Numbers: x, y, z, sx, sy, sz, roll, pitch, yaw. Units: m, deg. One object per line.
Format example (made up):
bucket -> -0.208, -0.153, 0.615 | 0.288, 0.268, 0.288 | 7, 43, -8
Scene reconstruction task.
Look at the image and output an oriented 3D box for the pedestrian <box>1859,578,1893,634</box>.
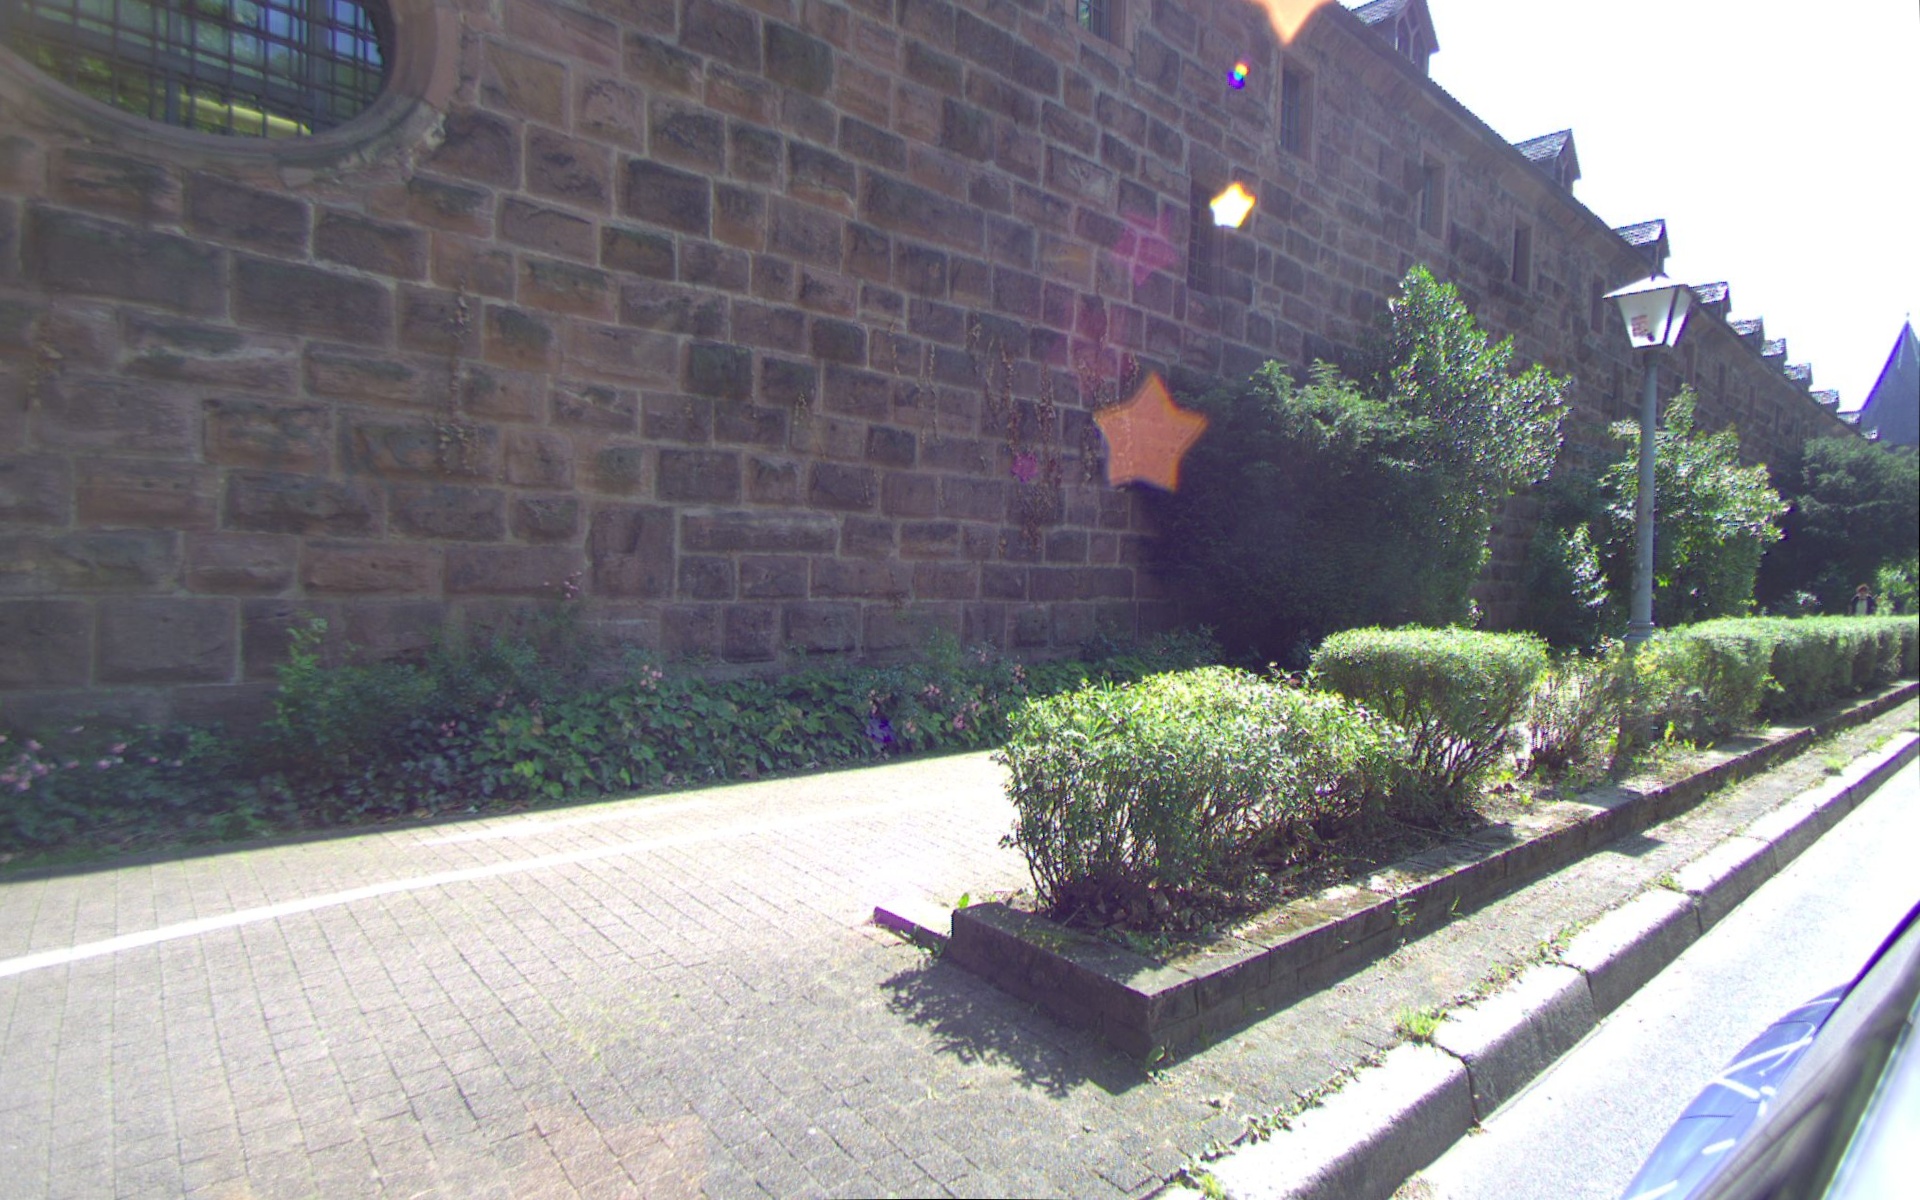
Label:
pedestrian -> 26.263, 0.176, 29.021 | 0.554, 1.583, 0.642 | 0, 0, -41
